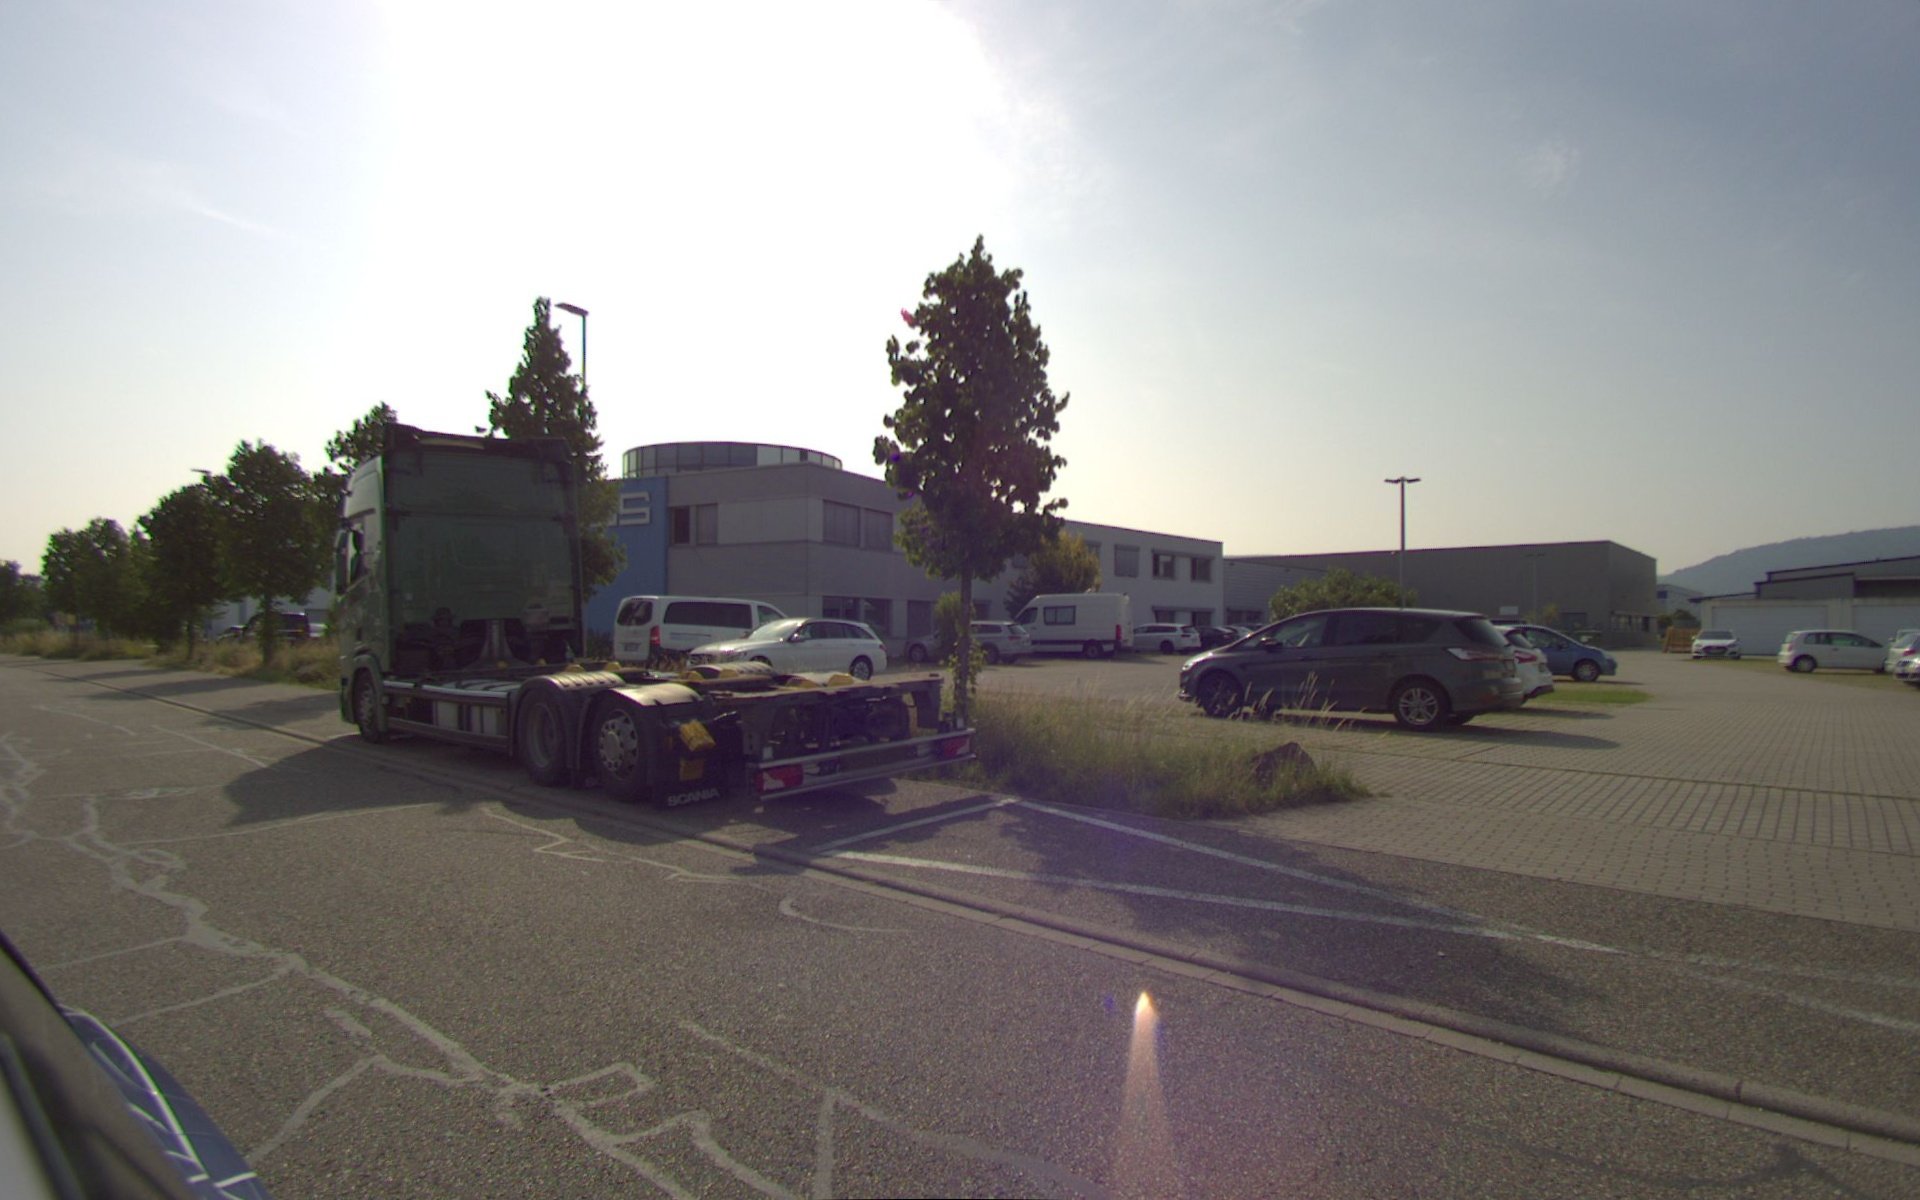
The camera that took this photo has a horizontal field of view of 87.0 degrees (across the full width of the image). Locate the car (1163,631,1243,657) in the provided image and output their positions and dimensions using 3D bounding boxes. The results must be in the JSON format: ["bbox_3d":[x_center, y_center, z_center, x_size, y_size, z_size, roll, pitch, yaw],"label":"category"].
[{"bbox_3d":[12.599,2.256,52.525,3.725,1.308,1.558,-1,-2,40],"label":"car"}]

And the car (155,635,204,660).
[{"bbox_3d":[-47.604,2.885,61.671,3.918,1.420,1.735,-2,-3,43],"label":"car"}]

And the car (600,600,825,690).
[{"bbox_3d":[-5.575,1.015,23.274,2.102,1.850,4.654,-2,-3,42],"label":"car"}]

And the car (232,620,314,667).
[{"bbox_3d":[-31.161,1.967,45.852,4.989,2.029,1.862,-2,-4,42],"label":"car"}]

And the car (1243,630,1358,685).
[{"bbox_3d":[9.184,1.521,27.281,2.844,1.399,1.181,-1,-2,25],"label":"car"}]

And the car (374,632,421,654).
[{"bbox_3d":[-39.210,2.959,70.530,3.918,1.479,1.735,-2,-3,43],"label":"car"}]

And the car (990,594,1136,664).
[{"bbox_3d":[4.156,1.145,41.268,5.719,2.715,1.696,0,-2,25],"label":"car"}]

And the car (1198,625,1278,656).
[{"bbox_3d":[15.720,2.304,57.333,3.997,1.702,1.778,-2,-3,40],"label":"car"}]

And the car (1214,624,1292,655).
[{"bbox_3d":[17.043,2.294,59.029,3.997,1.702,1.778,-2,-3,40],"label":"car"}]

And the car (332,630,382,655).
[{"bbox_3d":[-40.973,2.902,68.709,3.918,1.631,1.885,-2,-3,43],"label":"car"}]

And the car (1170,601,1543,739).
[{"bbox_3d":[5.634,0.950,14.759,4.695,1.699,1.973,-2,-3,40],"label":"car"}]

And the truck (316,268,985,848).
[{"bbox_3d":[-4.205,-0.238,11.074,9.803,3.911,2.428,-1,0,43],"label":"truck"}]

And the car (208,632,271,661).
[{"bbox_3d":[-38.279,2.444,53.731,3.915,1.460,1.767,-2,-2,40],"label":"car"}]

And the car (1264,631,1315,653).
[{"bbox_3d":[19.493,2.483,59.886,2.706,1.240,1.078,-1,-3,33],"label":"car"}]

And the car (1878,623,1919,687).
[{"bbox_3d":[26.197,1.405,25.540,4.136,1.625,1.828,0,-2,31],"label":"car"}]

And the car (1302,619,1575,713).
[{"bbox_3d":[8.641,1.153,18.489,4.210,1.527,1.687,-2,-3,40],"label":"car"}]

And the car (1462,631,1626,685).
[{"bbox_3d":[16.770,1.628,29.259,3.982,1.453,1.883,-1,-2,29],"label":"car"}]

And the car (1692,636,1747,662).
[{"bbox_3d":[36.917,2.359,49.145,3.629,1.222,1.620,2,-2,-44],"label":"car"}]

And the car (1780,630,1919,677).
[{"bbox_3d":[30.405,1.769,34.060,4.136,1.492,1.563,0,-2,31],"label":"car"}]

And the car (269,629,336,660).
[{"bbox_3d":[-36.010,2.410,55.356,4.507,1.619,1.922,-2,-3,41],"label":"car"}]

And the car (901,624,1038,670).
[{"bbox_3d":[0.315,1.587,34.970,4.500,1.492,1.565,0,-2,26],"label":"car"}]

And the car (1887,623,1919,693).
[{"bbox_3d":[24.493,1.367,23.417,4.136,1.625,1.828,0,-2,31],"label":"car"}]

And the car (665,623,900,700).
[{"bbox_3d":[-3.635,1.218,21.413,2.000,1.442,4.676,-2,-2,42],"label":"car"}]

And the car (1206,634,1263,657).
[{"bbox_3d":[14.479,2.392,53.478,2.706,1.186,1.078,-1,-3,33],"label":"car"}]

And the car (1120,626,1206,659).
[{"bbox_3d":[9.661,1.994,48.349,3.726,1.475,1.558,0,-1,40],"label":"car"}]
